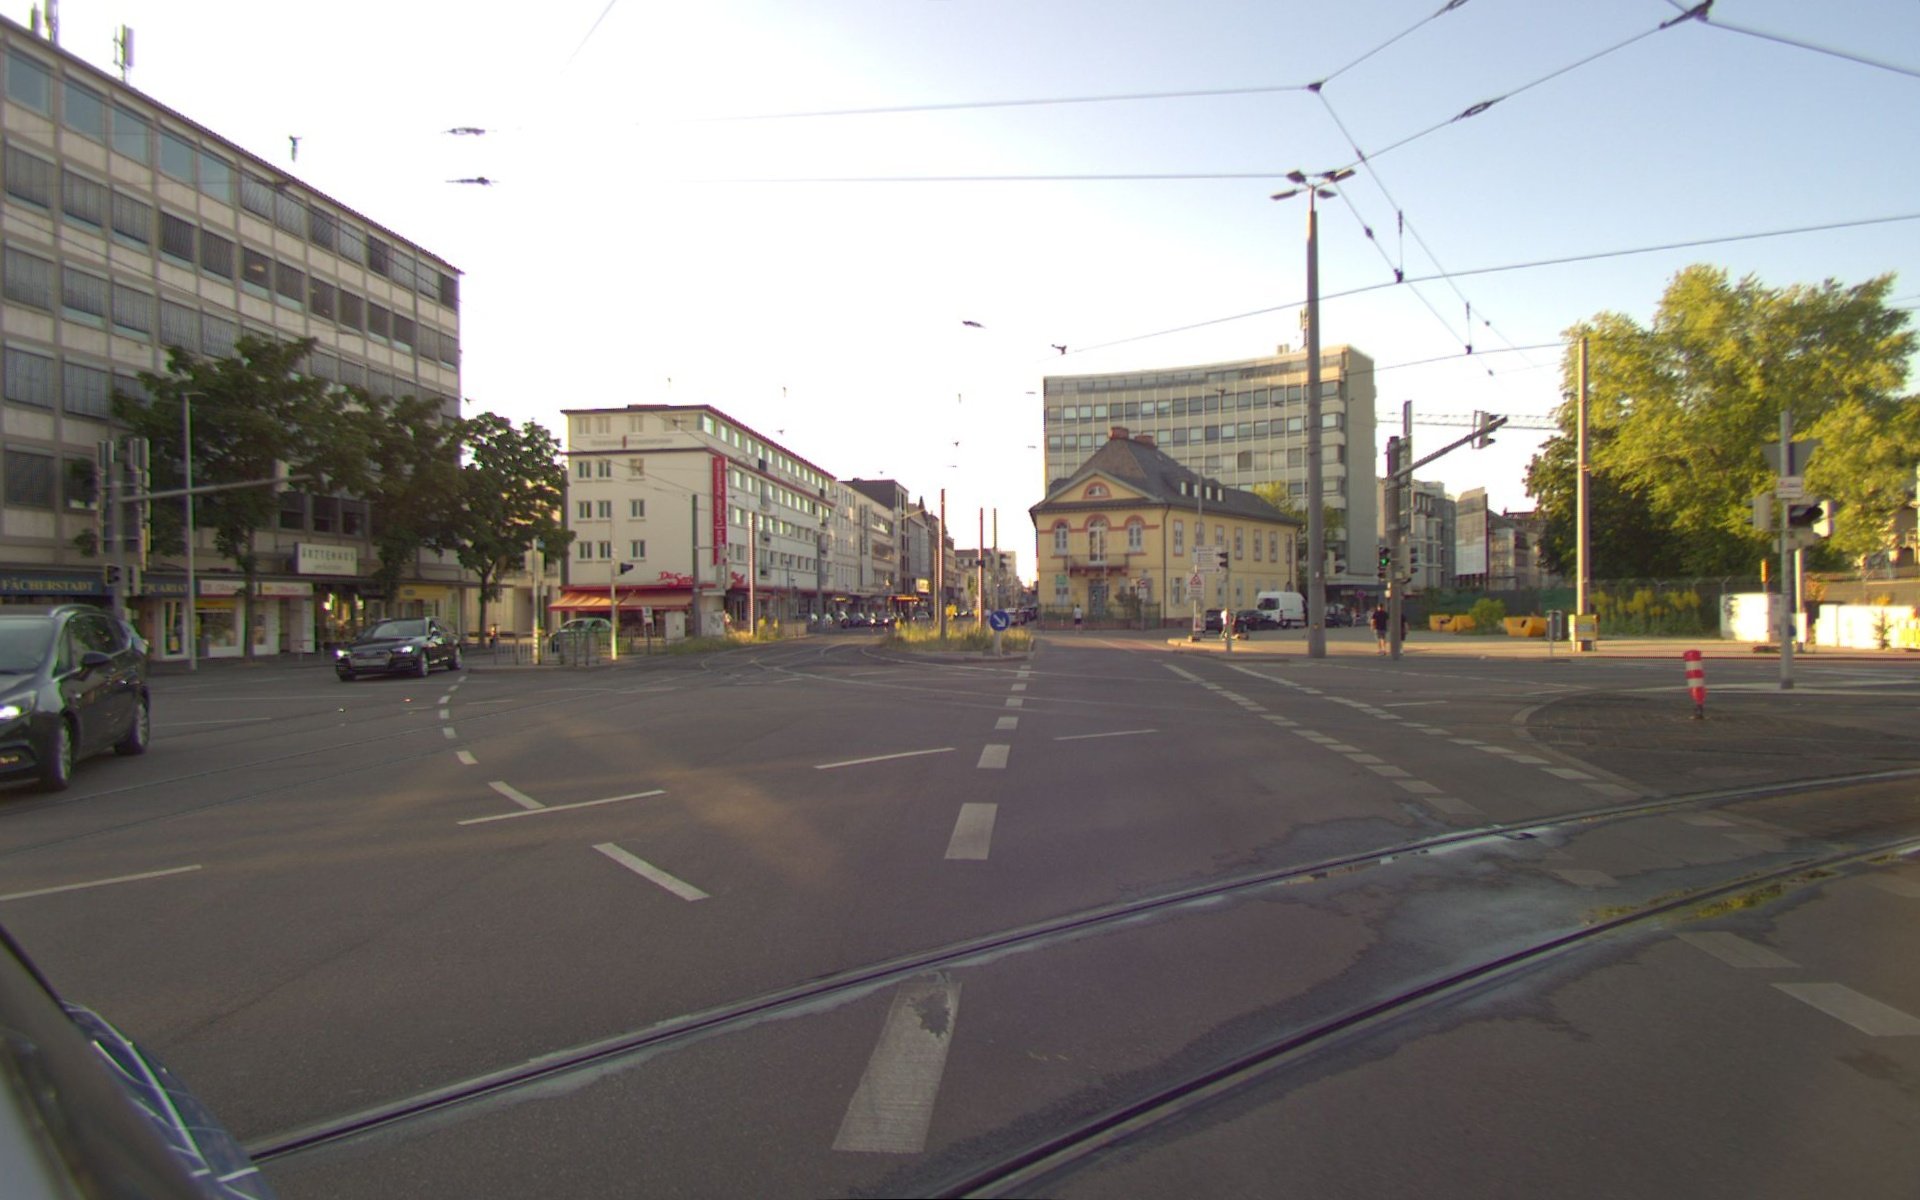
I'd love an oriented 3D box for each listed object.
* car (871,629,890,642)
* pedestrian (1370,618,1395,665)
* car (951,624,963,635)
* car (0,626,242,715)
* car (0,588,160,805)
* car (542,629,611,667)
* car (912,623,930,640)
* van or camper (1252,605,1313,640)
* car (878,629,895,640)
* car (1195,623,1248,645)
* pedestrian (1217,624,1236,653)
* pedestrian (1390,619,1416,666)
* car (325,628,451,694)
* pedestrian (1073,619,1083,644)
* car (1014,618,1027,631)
[{"bbox_3d":[-7.851,3.509,100.298,1.546,1.286,3.421,-1,-1,2],"label":"car"},{"bbox_3d":[14.047,1.381,33.645,0.583,1.521,0.654,0,-2,6],"label":"pedestrian"},{"bbox_3d":[-0.554,5.234,179.844,1.970,2.029,4.002,0,-1,-3],"label":"car"},{"bbox_3d":[-18.585,1.407,21.962,2.003,1.640,5.575,0,-1,1],"label":"car"},{"bbox_3d":[-8.920,0.762,9.208,1.770,1.631,4.401,0,-1,-28],"label":"car"},{"bbox_3d":[-17.264,2.130,45.724,1.724,1.578,4.025,0,-1,-2],"label":"car"},{"bbox_3d":[-4.805,3.903,125.632,1.973,2.029,3.998,-1,-1,1],"label":"car"},{"bbox_3d":[22.242,1.555,69.675,2.000,2.319,5.043,-1,-1,43],"label":"van or camper"},{"bbox_3d":[-8.599,4.017,118.357,1.546,1.286,3.421,0,-1,2],"label":"car"},{"bbox_3d":[15.957,2.031,61.642,1.850,1.286,3.540,-1,-1,40],"label":"car"},{"bbox_3d":[12.570,1.816,47.810,0.581,1.351,0.655,1,0,-44],"label":"pedestrian"},{"bbox_3d":[14.638,1.404,33.472,0.583,1.521,0.654,0,-2,6],"label":"pedestrian"},{"bbox_3d":[-13.785,1.402,24.635,1.820,1.418,4.238,0,-1,-18],"label":"car"},{"bbox_3d":[7.184,1.945,61.757,0.583,1.521,0.653,0,-2,8],"label":"pedestrian"},{"bbox_3d":[7.774,3.159,130.101,1.490,1.591,3.004,0,-1,1],"label":"car"}]
